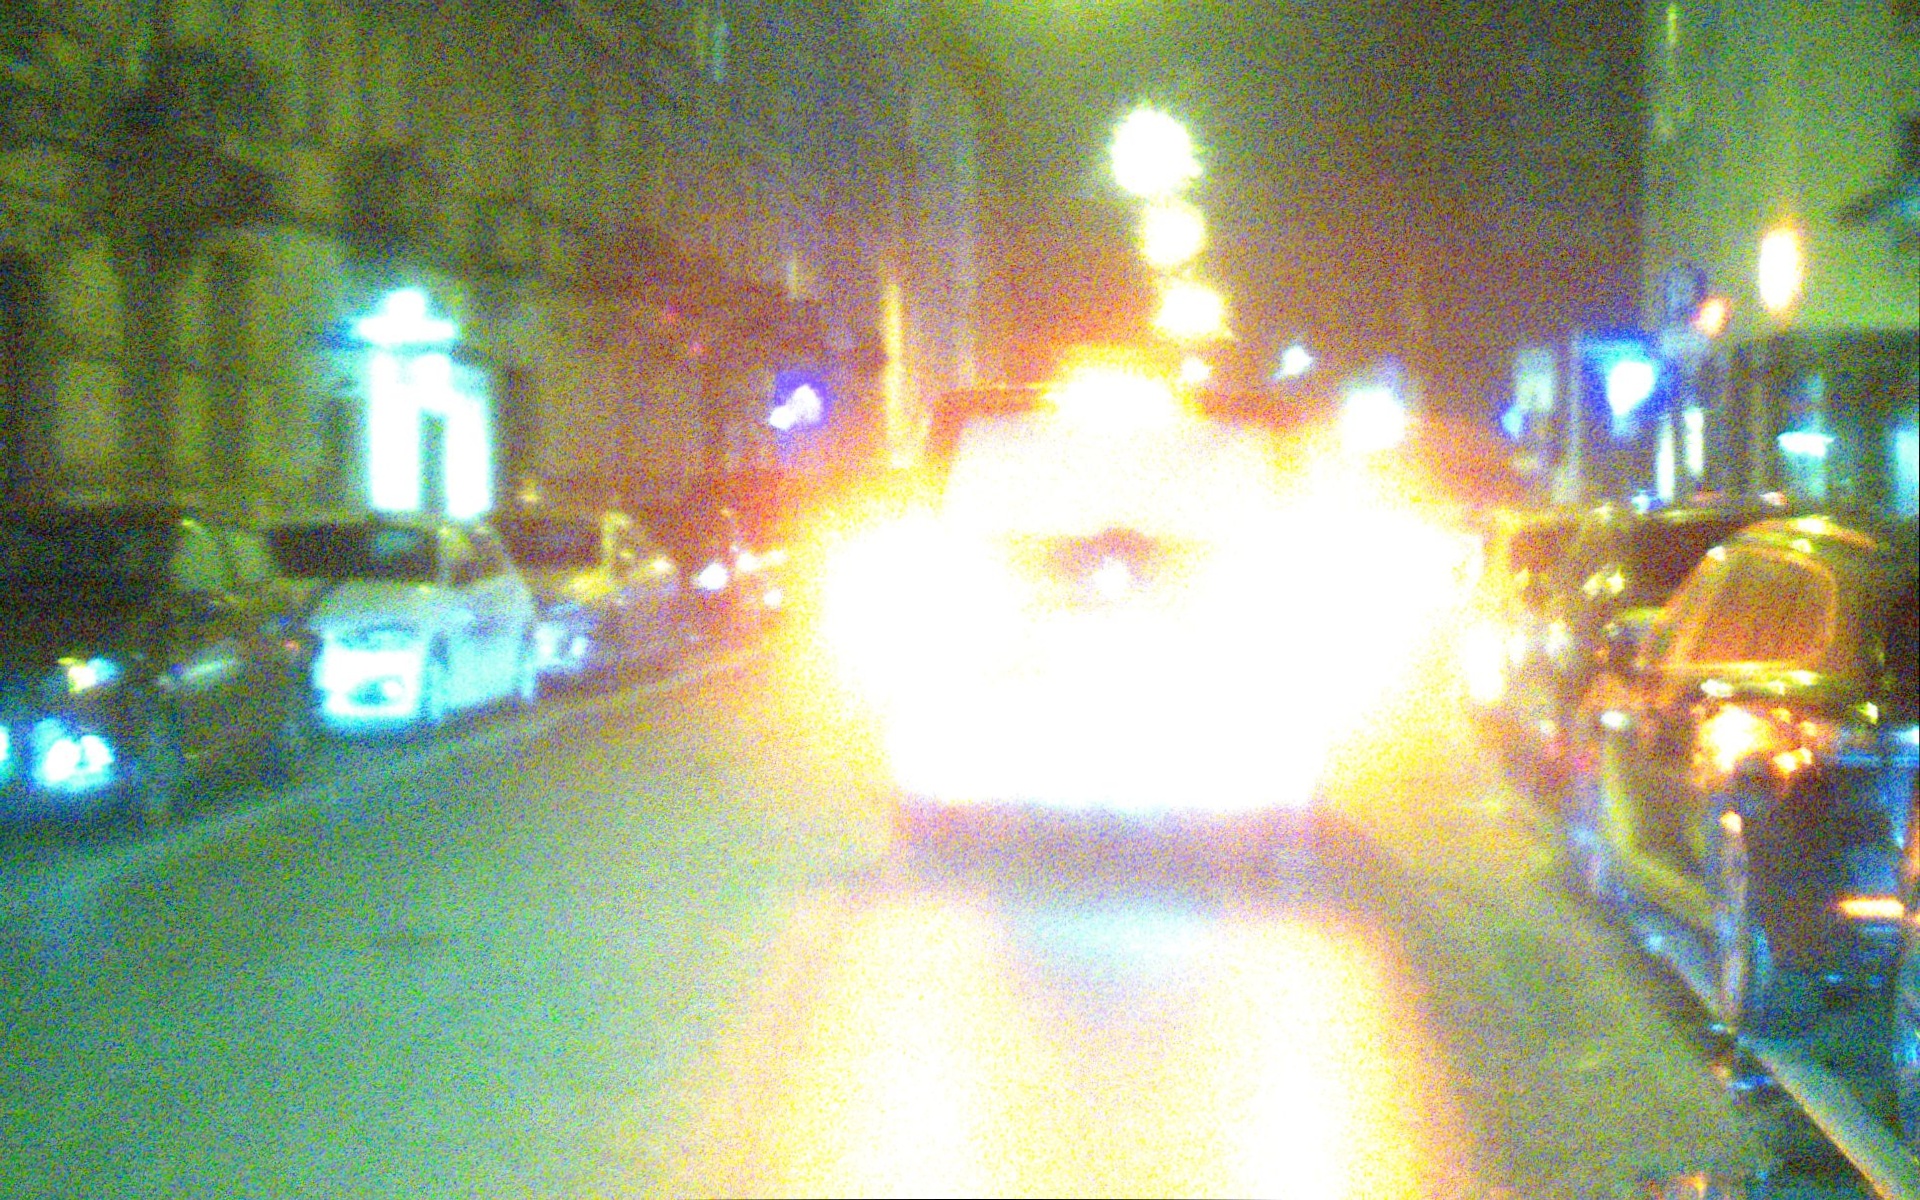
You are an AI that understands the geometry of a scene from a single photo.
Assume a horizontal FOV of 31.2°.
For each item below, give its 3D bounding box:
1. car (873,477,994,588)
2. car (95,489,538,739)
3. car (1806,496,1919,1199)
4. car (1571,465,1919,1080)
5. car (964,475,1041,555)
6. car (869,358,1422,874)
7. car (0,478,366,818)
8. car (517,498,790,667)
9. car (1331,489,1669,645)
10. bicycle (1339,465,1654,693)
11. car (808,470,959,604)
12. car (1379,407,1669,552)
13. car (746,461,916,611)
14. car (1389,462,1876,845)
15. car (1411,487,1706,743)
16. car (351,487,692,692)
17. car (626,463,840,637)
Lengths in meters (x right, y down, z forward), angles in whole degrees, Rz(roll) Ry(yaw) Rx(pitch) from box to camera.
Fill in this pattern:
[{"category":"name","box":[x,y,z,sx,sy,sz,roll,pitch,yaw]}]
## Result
[{"category":"car","box":[-0.479,-1.309,66.378,1.994,2.006,4.000,2,1,4]},{"category":"car","box":[-3.977,0.010,21.954,1.690,1.396,4.316,1,2,5]},{"category":"car","box":[2.858,0.596,6.314,1.753,1.560,4.154,1,1,3]},{"category":"car","box":[3.088,0.412,10.758,1.753,1.532,4.398,1,1,3]},{"category":"car","box":[1.131,-2.237,90.526,1.749,2.006,4.000,2,1,4]},{"category":"car","box":[0.766,-0.014,15.660,2.122,1.984,4.601,1,2,1]},{"category":"car","box":[-4.100,0.143,16.607,1.586,1.444,3.503,1,2,5]},{"category":"car","box":[-2.850,-0.207,32.795,1.994,1.444,4.000,2,2,3]},{"category":"car","box":[7.160,-0.441,45.753,3.986,2.007,2.001,-1,0,-12]},{"category":"bicycle","box":[4.208,-0.168,27.128,2.321,1.633,0.888,-3,1,6]},{"category":"car","box":[-1.181,-1.023,54.993,1.994,2.006,4.000,2,1,4]},{"category":"car","box":[8.131,-1.747,49.856,3.987,2.006,2.000,-1,2,5]},{"category":"car","box":[-1.802,-0.932,49.282,1.994,2.006,4.000,2,1,3]},{"category":"car","box":[3.130,0.192,16.738,1.753,1.602,3.989,1,1,3]},{"category":"car","box":[3.907,0.064,22.880,1.592,1.538,3.419,1,1,5]},{"category":"car","box":[-3.458,-0.158,27.977,1.754,1.444,4.622,3,2,5]},{"category":"car","box":[-2.594,-0.608,40.214,1.994,1.856,4.094,2,1,3]}]
